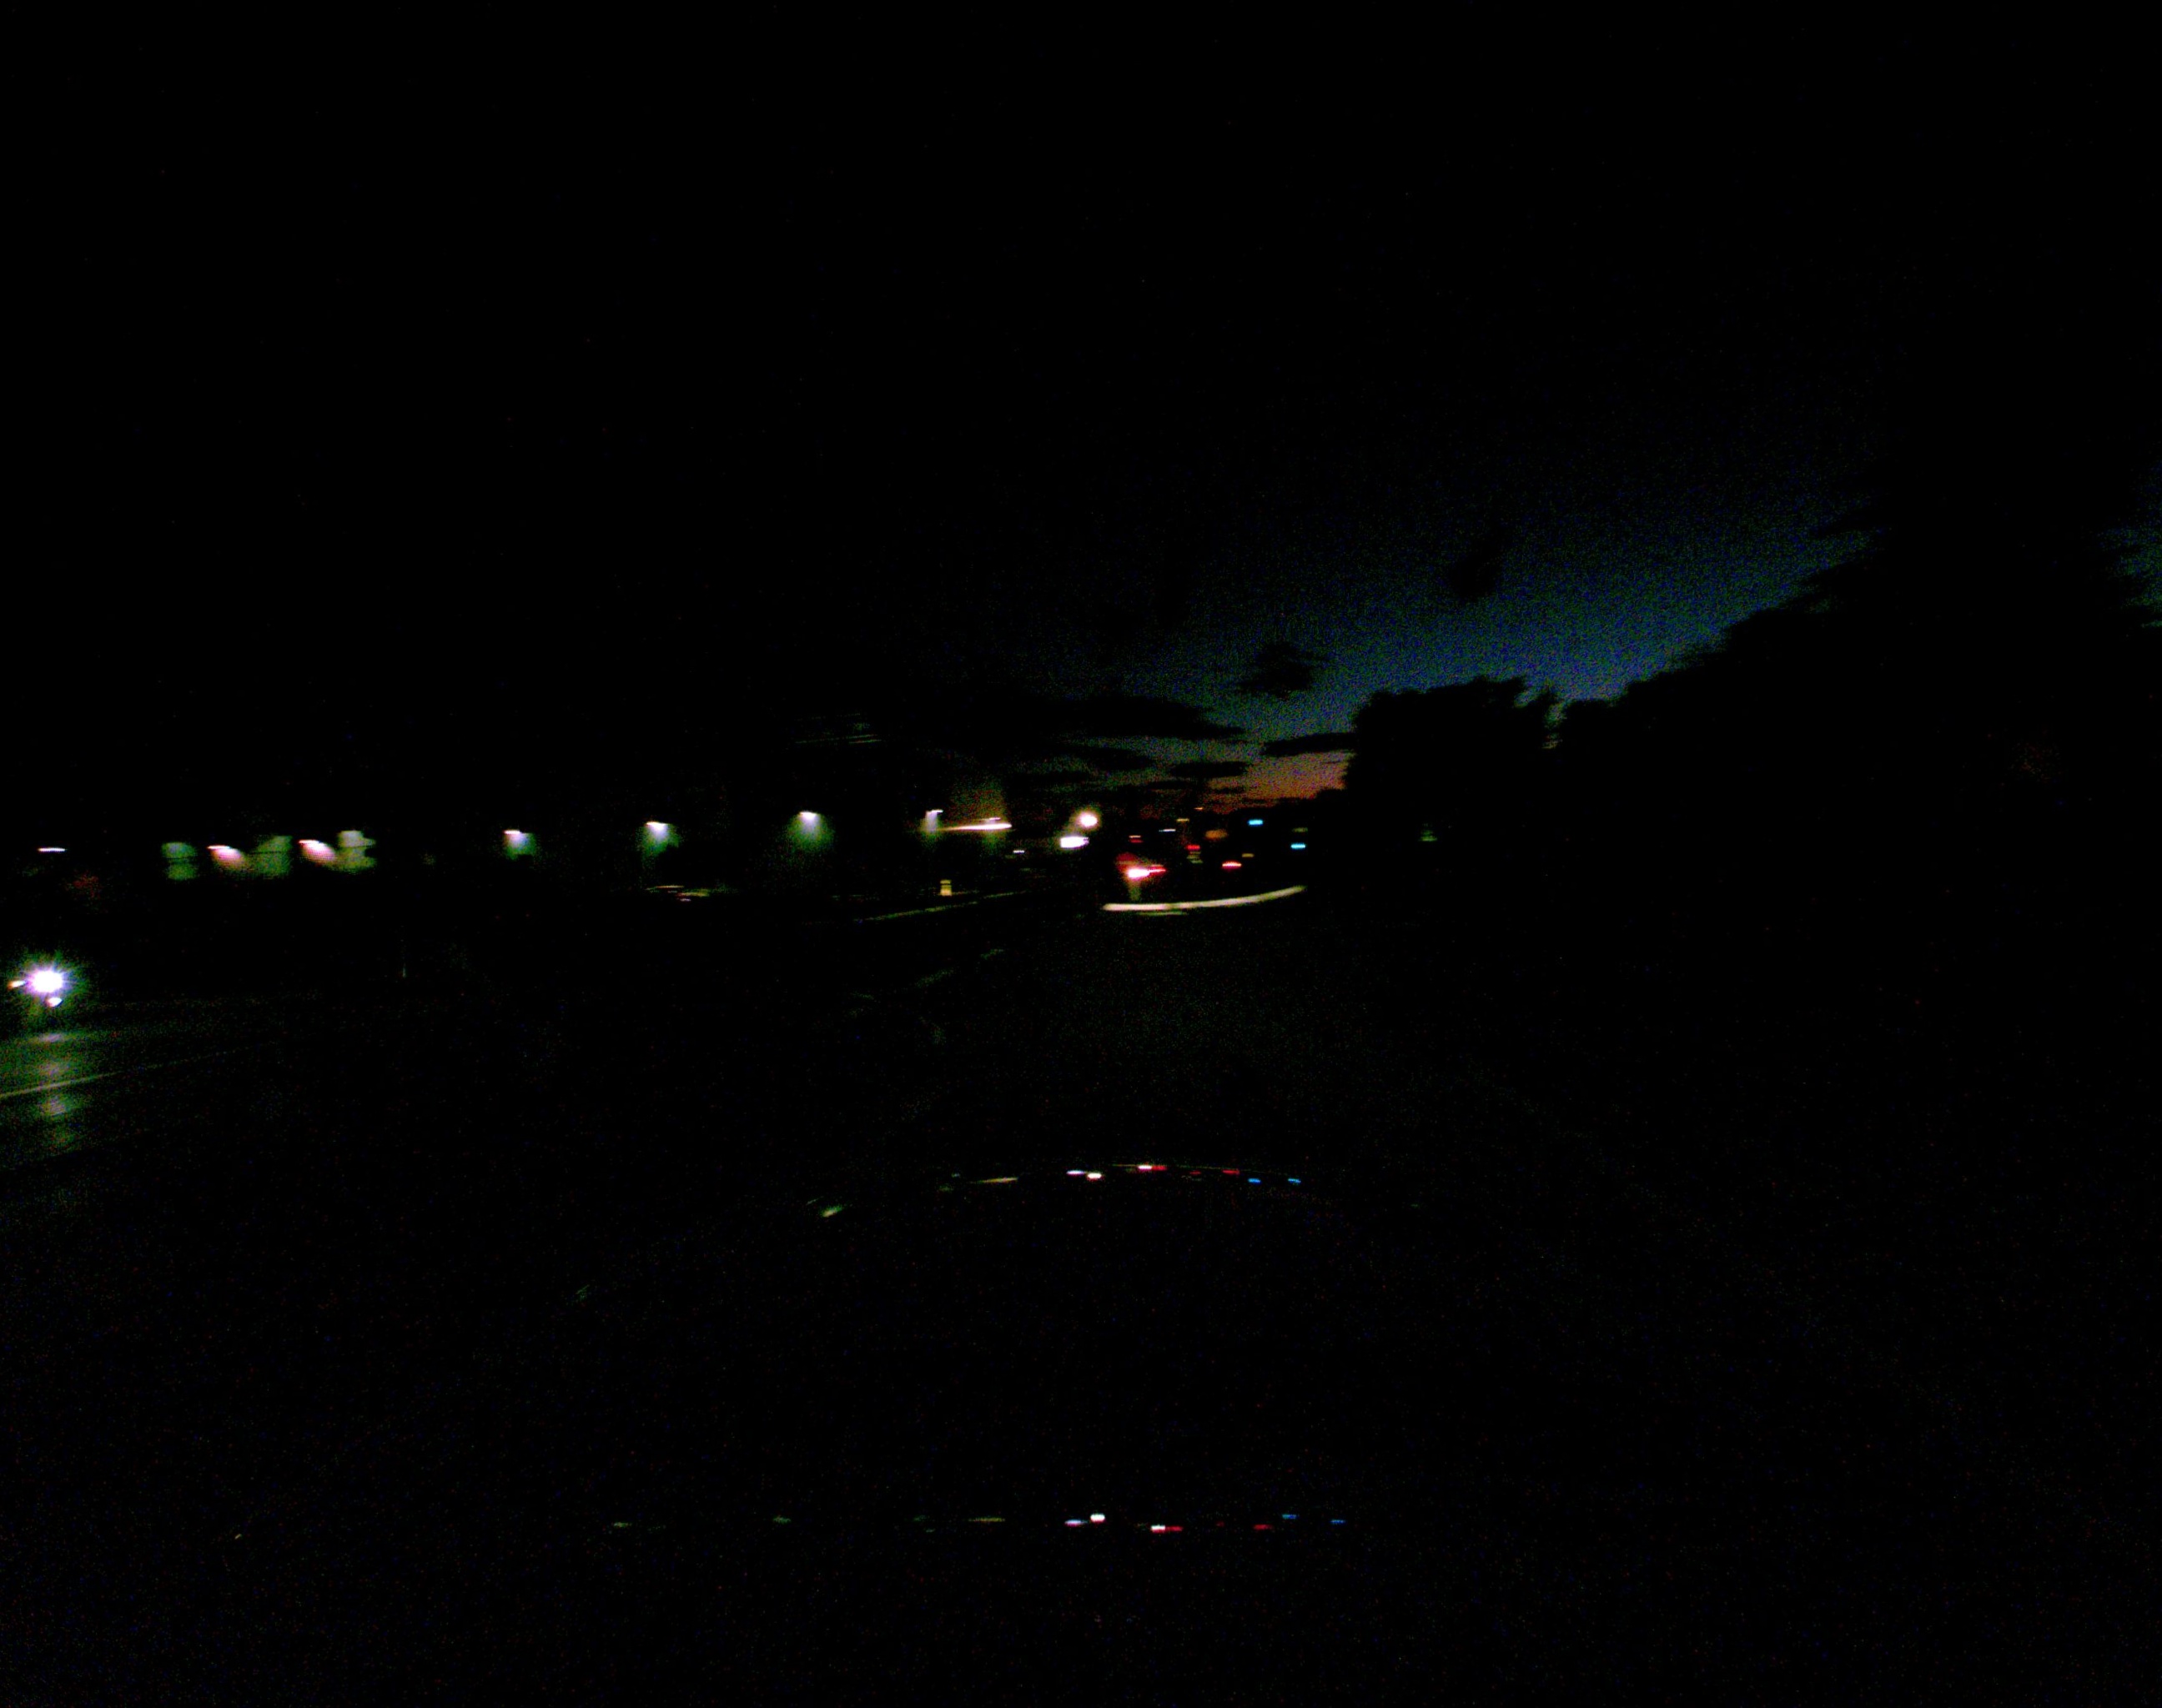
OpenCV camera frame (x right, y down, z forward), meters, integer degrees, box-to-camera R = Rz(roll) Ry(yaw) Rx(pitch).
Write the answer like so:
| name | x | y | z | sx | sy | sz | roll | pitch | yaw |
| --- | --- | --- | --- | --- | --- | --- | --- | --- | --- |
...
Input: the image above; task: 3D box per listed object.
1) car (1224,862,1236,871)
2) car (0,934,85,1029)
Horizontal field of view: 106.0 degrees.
| name | x | y | z | sx | sy | sz | roll | pitch | yaw |
| --- | --- | --- | --- | --- | --- | --- | --- | --- | --- |
| car | 28.393 | 2.365 | 155.456 | 1.925 | 1.646 | 4.008 | -3 | 0 | 7 |
| car | -19.668 | 2.280 | 13.943 | 3.831 | 1.474 | 1.710 | -4 | -1 | 12 |
